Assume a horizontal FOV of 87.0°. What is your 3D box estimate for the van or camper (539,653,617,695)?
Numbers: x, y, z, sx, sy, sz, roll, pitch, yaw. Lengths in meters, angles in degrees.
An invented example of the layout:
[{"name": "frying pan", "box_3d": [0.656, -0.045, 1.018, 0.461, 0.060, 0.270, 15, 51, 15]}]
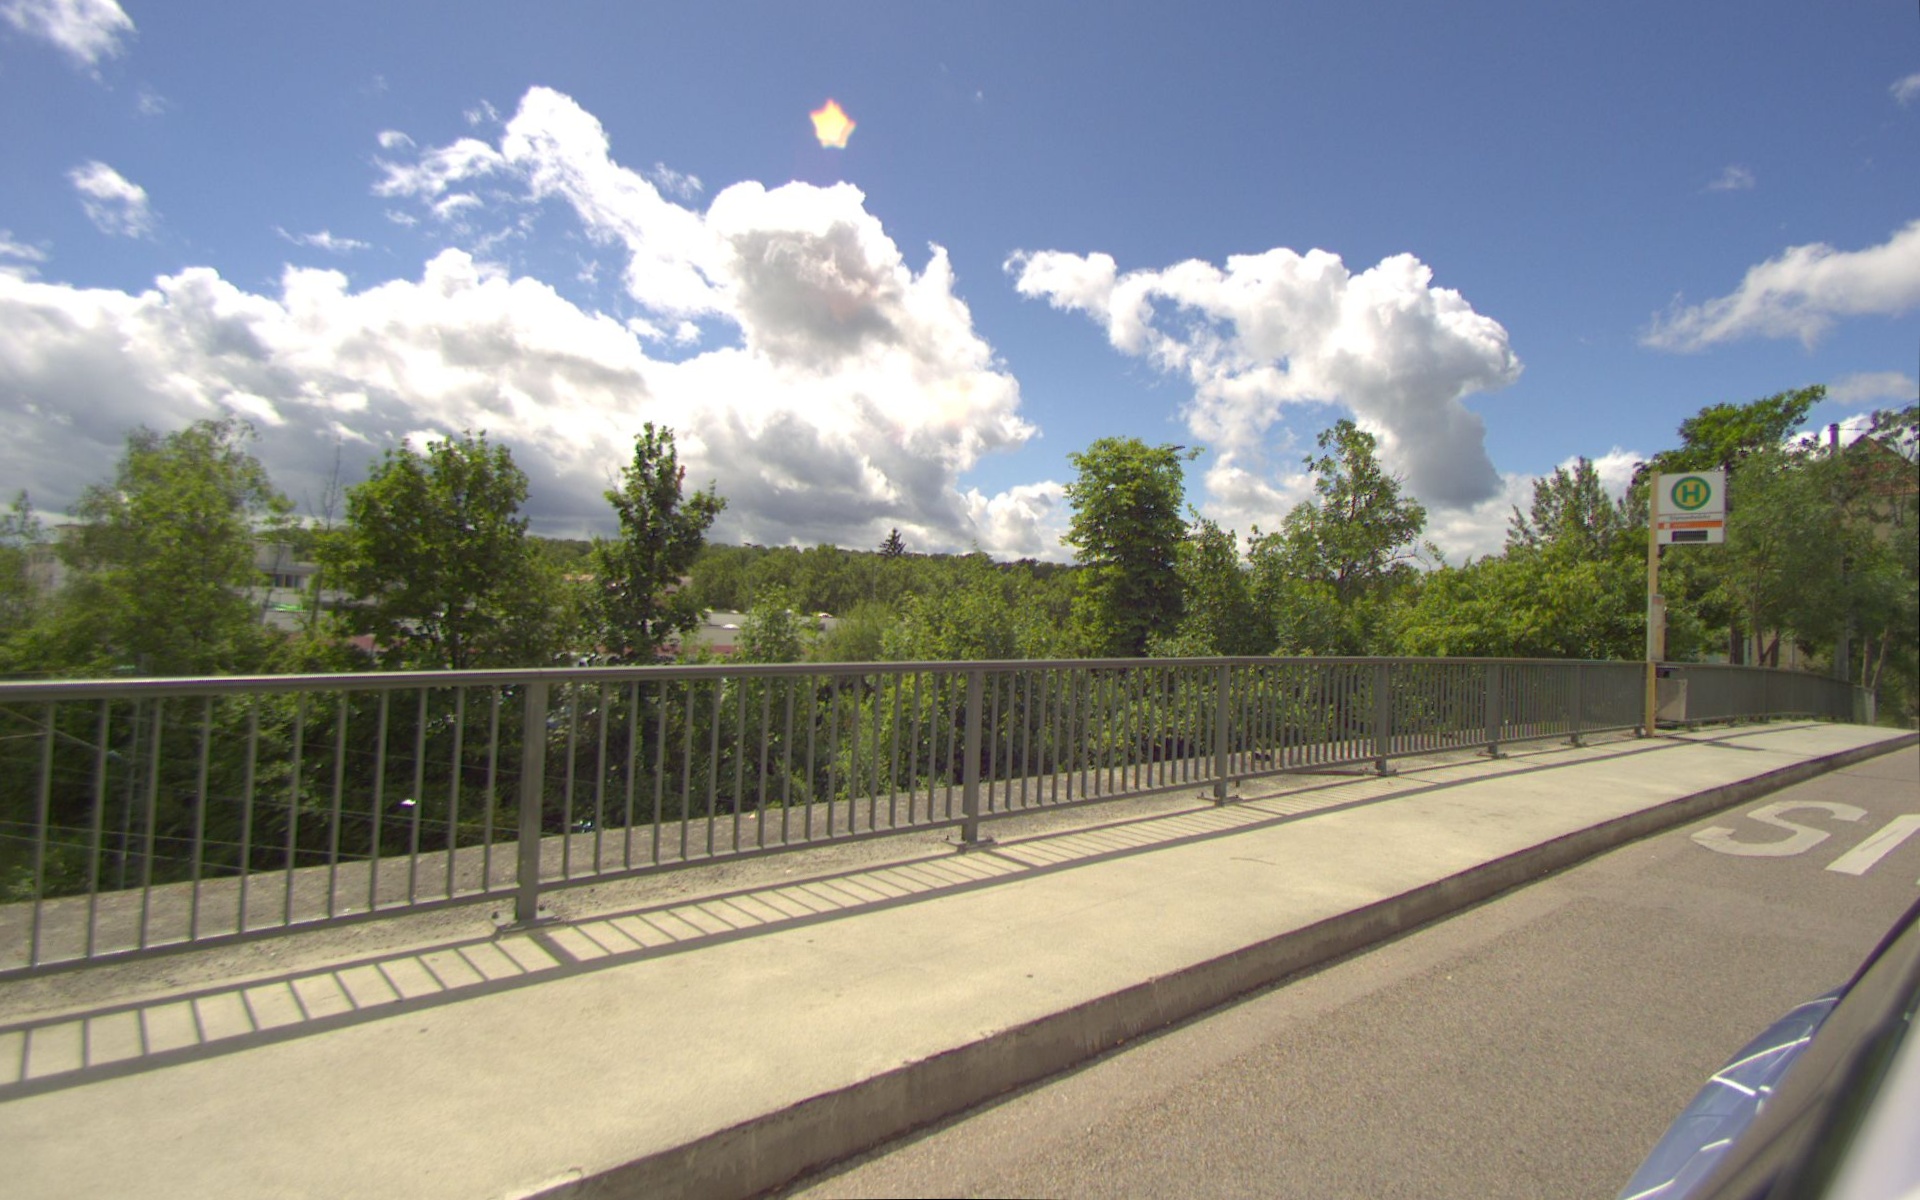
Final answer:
[{"name": "van or camper", "box_3d": [-26.127, 5.073, 69.224, 5.249, 2.728, 1.910, -3, -5, 27]}]
